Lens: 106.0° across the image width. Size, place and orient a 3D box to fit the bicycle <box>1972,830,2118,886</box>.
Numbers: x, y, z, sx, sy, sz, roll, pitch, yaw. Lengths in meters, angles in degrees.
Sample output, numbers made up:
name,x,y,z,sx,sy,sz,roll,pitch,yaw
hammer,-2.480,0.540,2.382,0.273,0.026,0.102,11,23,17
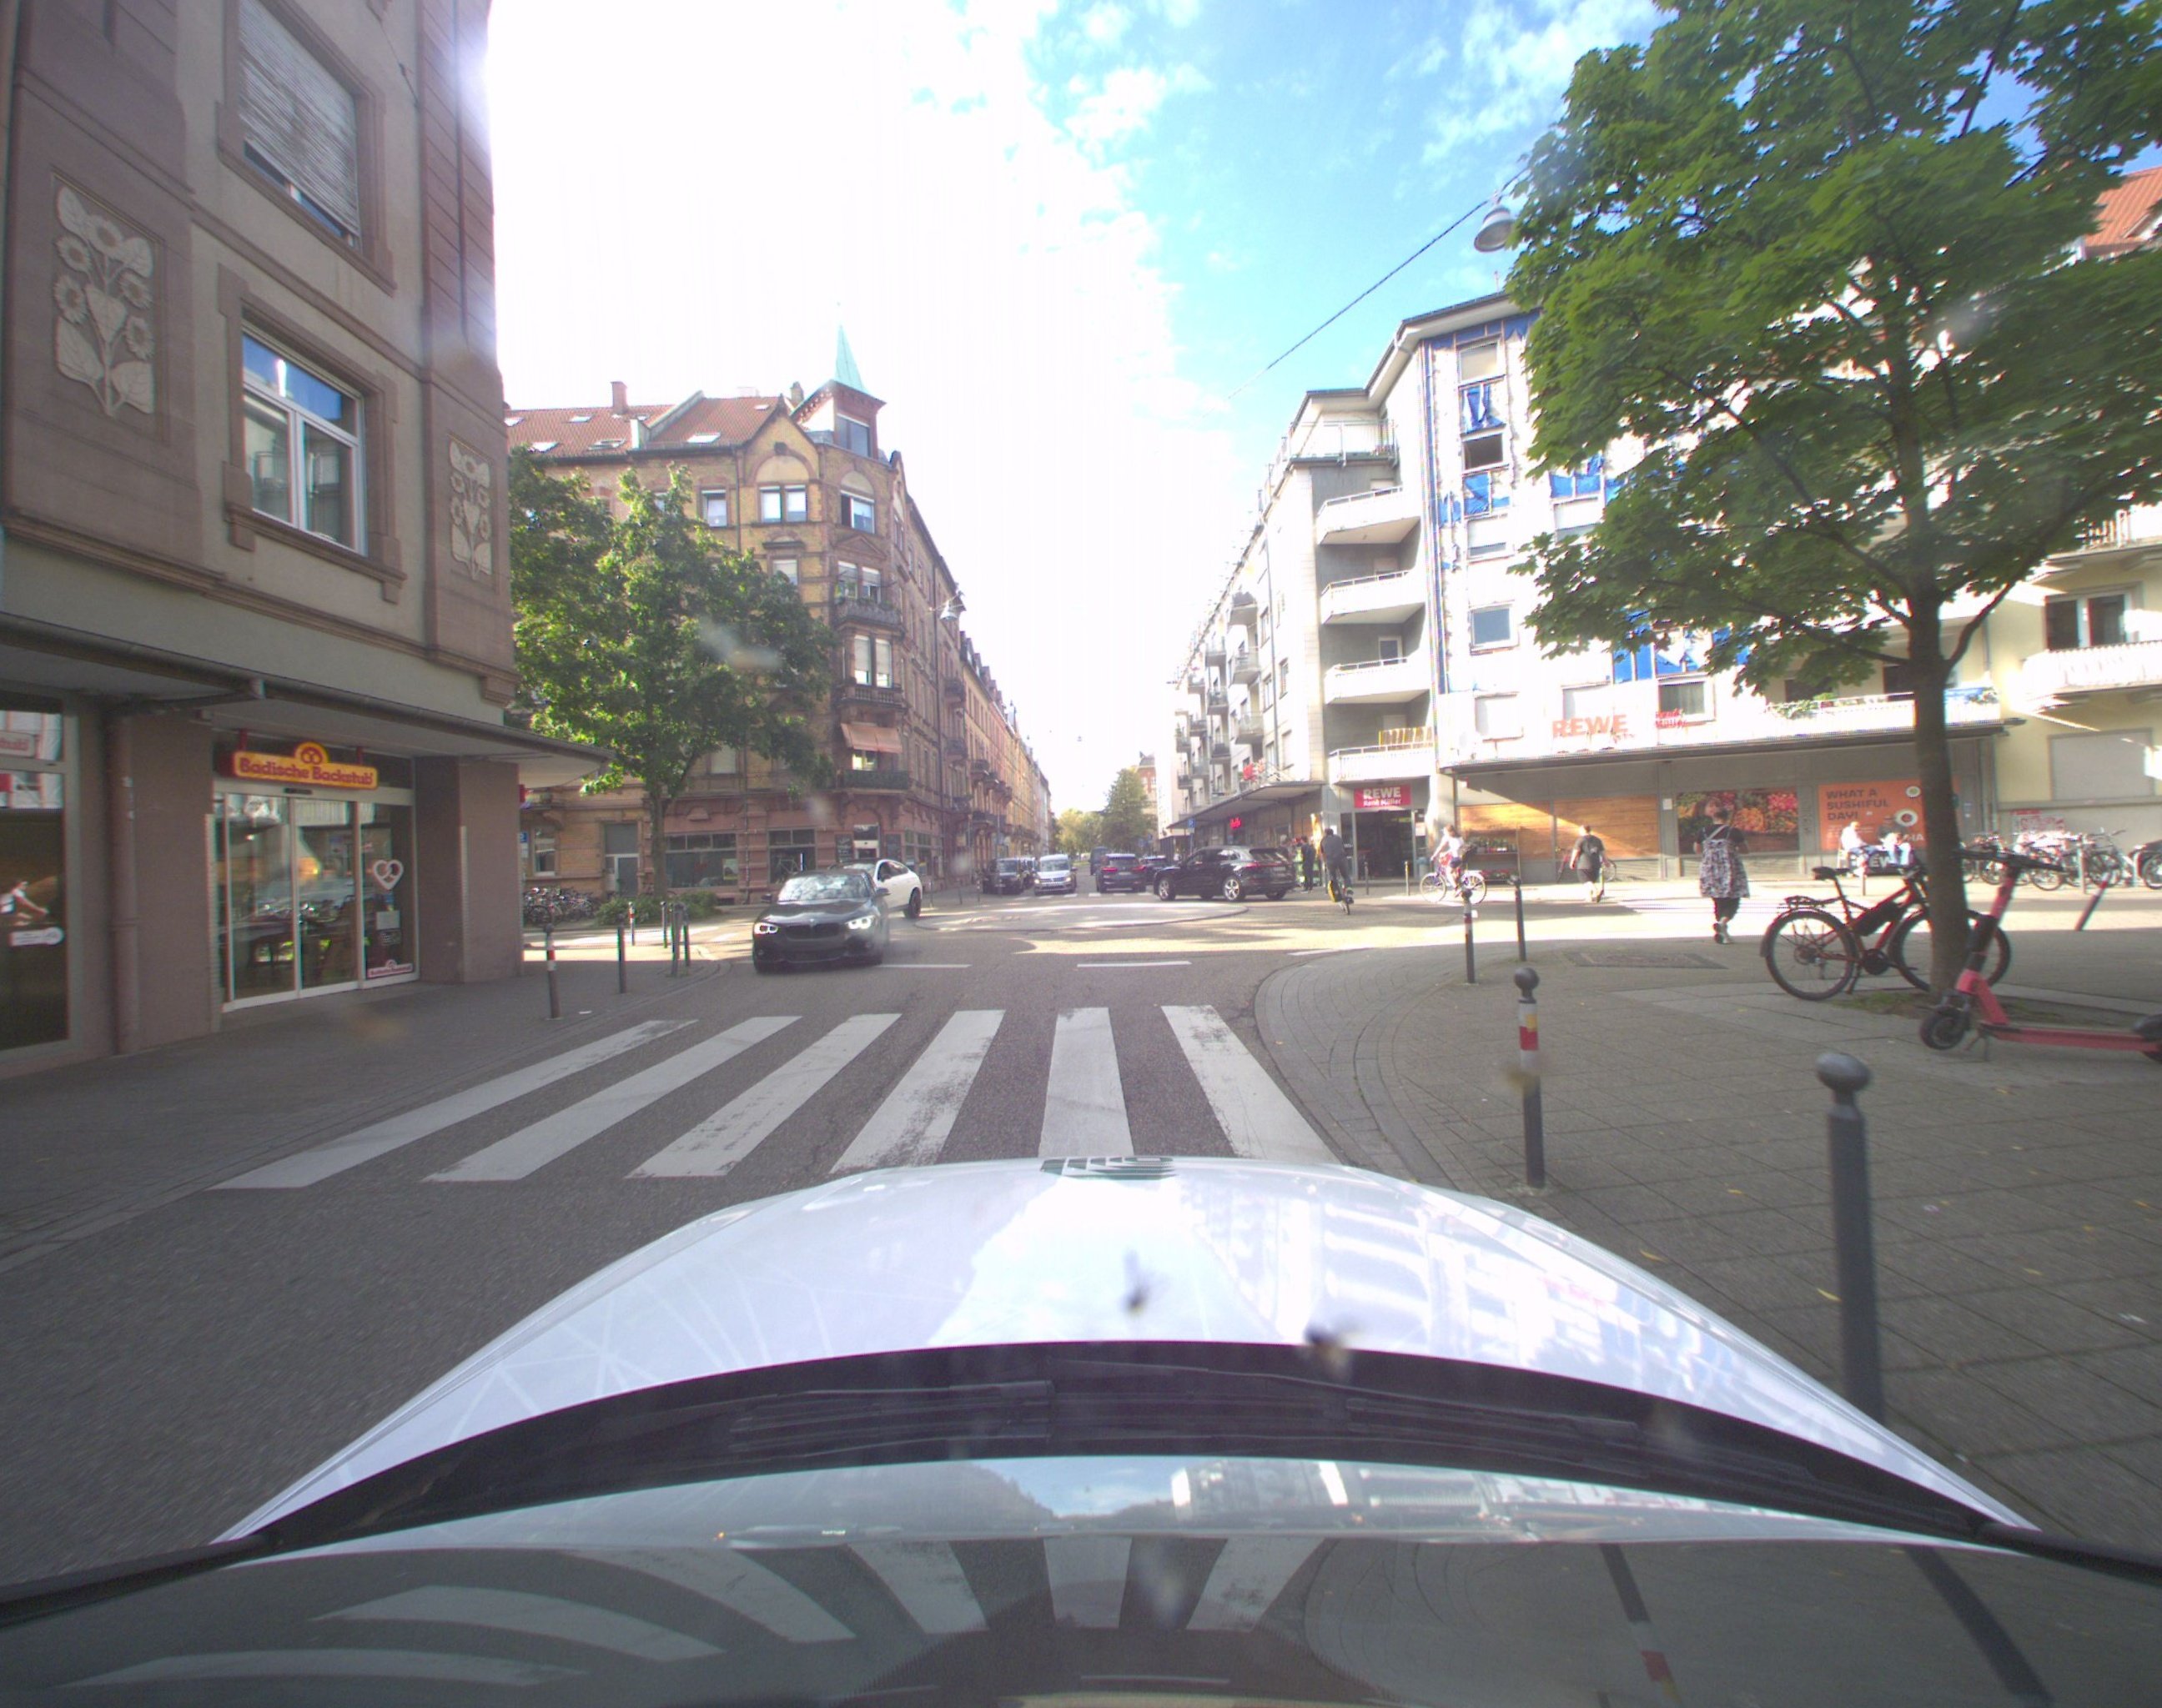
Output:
name,x,y,z,sx,sy,sz,roll,pitch,yaw
bicycle,19.831,0.075,16.778,2.049,1.032,0.753,-3,0,1

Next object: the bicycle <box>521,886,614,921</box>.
name,x,y,z,sx,sy,sz,roll,pitch,yaw
bicycle,-18.760,1.805,29.790,2.890,1.123,0.632,-3,0,-4

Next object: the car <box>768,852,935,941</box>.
name,x,y,z,sx,sy,sz,roll,pitch,yaw
car,-5.554,0.952,20.500,1.930,1.722,4.865,-4,1,11

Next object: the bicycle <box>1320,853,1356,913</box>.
name,x,y,z,sx,sy,sz,roll,pitch,yaw
bicycle,5.498,0.579,17.363,0.660,1.178,2.509,-1,-1,18

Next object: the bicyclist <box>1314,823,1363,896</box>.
name,x,y,z,sx,sy,sz,roll,pitch,yaw
bicyclist,5.452,0.122,17.228,0.926,1.484,0.751,-1,-1,18

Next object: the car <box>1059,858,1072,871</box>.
name,x,y,z,sx,sy,sz,roll,pitch,yaw
car,-2.677,1.803,141.408,1.987,2.013,3.999,-2,0,0

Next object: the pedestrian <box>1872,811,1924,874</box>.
name,x,y,z,sx,sy,sz,roll,pitch,yaw
pedestrian,20.740,-0.284,20.688,0.740,1.550,0.736,-1,1,27

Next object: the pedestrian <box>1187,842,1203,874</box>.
name,x,y,z,sx,sy,sz,roll,pitch,yaw
pedestrian,6.773,0.229,48.369,0.725,1.864,1.067,-3,-1,15

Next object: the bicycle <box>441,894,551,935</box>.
name,x,y,z,sx,sy,sz,roll,pitch,yaw
bicycle,-18.712,1.928,26.095,2.890,1.123,0.725,-3,0,-4

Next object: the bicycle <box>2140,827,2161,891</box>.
name,x,y,z,sx,sy,sz,roll,pitch,yaw
bicycle,20.122,0.088,14.466,1.544,1.141,0.578,0,0,16

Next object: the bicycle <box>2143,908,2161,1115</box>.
name,x,y,z,sx,sy,sz,roll,pitch,yaw
bicycle,4.174,0.672,1.946,0.391,1.040,1.903,-5,0,-28

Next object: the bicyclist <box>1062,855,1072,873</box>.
name,x,y,z,sx,sy,sz,roll,pitch,yaw
bicyclist,-1.555,1.122,91.343,1.130,1.998,1.027,0,-1,-4

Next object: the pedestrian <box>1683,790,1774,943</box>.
name,x,y,z,sx,sy,sz,roll,pitch,yaw
pedestrian,7.932,0.146,9.994,0.774,1.780,0.798,-3,-1,39

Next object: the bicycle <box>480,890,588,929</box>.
name,x,y,z,sx,sy,sz,roll,pitch,yaw
bicycle,-18.579,1.888,27.702,3.089,1.123,0.632,-3,0,-4

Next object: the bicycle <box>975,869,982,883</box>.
name,x,y,z,sx,sy,sz,roll,pitch,yaw
bicycle,-7.024,1.514,55.818,0.359,0.947,1.713,-1,0,-4

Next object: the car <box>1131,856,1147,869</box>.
name,x,y,z,sx,sy,sz,roll,pitch,yaw
car,6.737,0.947,94.640,1.639,1.324,3.578,-5,0,2

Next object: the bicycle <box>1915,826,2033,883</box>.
name,x,y,z,sx,sy,sz,roll,pitch,yaw
bicycle,19.707,0.005,17.982,2.072,1.141,0.435,-3,0,0

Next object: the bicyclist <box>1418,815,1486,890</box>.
name,x,y,z,sx,sy,sz,roll,pitch,yaw
bicyclist,8.531,-0.031,18.754,0.944,1.668,1.009,-2,-1,-22

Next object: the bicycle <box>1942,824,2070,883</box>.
name,x,y,z,sx,sy,sz,roll,pitch,yaw
bicycle,19.777,-0.018,17.428,2.132,1.141,0.485,-3,0,0

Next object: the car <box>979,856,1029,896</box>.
name,x,y,z,sx,sy,sz,roll,pitch,yaw
car,-3.770,1.054,40.573,1.775,1.724,4.449,-1,1,3

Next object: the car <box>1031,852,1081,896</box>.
name,x,y,z,sx,sy,sz,roll,pitch,yaw
car,-1.096,0.884,37.721,1.785,1.790,4.740,-4,0,3

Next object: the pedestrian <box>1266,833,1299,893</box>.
name,x,y,z,sx,sy,sz,roll,pitch,yaw
pedestrian,6.460,0.280,26.117,0.864,1.851,0.613,-2,-1,5

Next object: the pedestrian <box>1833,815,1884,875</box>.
name,x,y,z,sx,sy,sz,roll,pitch,yaw
pedestrian,19.910,-0.224,20.863,0.743,1.479,0.590,-3,-1,26

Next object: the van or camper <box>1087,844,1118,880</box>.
name,x,y,z,sx,sy,sz,roll,pitch,yaw
van or camper,1.897,0.732,74.278,2.524,3.037,4.456,-2,0,-2

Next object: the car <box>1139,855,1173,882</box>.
name,x,y,z,sx,sy,sz,roll,pitch,yaw
car,4.193,0.795,46.117,1.639,1.324,3.578,-5,0,2

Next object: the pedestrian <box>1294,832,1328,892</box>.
name,x,y,z,sx,sy,sz,roll,pitch,yaw
pedestrian,7.341,0.253,26.023,0.864,1.851,0.613,-2,-1,5

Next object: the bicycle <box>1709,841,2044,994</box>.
name,x,y,z,sx,sy,sz,roll,pitch,yaw
bicycle,6.284,0.493,6.520,1.915,1.094,0.654,-2,0,5

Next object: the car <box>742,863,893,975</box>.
name,x,y,z,sx,sy,sz,roll,pitch,yaw
car,-3.983,0.905,12.936,1.751,1.436,4.195,-1,-1,-11

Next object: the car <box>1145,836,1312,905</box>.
name,x,y,z,sx,sy,sz,roll,pitch,yaw
car,4.234,0.477,24.162,2.051,1.724,4.794,-4,1,-34

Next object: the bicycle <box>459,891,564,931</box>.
name,x,y,z,sx,sy,sz,roll,pitch,yaw
bicycle,-18.695,1.873,26.778,2.890,1.123,0.632,-3,0,-4

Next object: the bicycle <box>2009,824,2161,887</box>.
name,x,y,z,sx,sy,sz,roll,pitch,yaw
bicycle,19.730,0.023,15.893,2.309,1.141,0.753,-2,0,1

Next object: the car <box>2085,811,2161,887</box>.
name,x,y,z,sx,sy,sz,roll,pitch,yaw
car,22.457,-0.152,15.356,1.992,1.510,3.990,-2,0,-7

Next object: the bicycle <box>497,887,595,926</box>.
name,x,y,z,sx,sy,sz,roll,pitch,yaw
bicycle,-18.633,1.815,28.392,2.890,1.190,0.632,-3,0,-4

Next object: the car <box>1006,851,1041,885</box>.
name,x,y,z,sx,sy,sz,roll,pitch,yaw
car,-3.710,0.907,52.905,1.988,2.013,3.997,-3,0,-2

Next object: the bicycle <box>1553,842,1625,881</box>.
name,x,y,z,sx,sy,sz,roll,pitch,yaw
bicycle,14.593,0.222,23.402,1.663,1.050,0.461,-3,-1,40

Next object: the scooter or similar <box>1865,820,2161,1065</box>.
name,x,y,z,sx,sy,sz,roll,pitch,yaw
scooter or similar,5.489,0.472,4.672,1.233,1.274,0.668,-3,-1,25

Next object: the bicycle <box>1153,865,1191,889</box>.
name,x,y,z,sx,sy,sz,roll,pitch,yaw
bicycle,4.327,1.084,38.778,1.799,1.027,0.673,-2,0,-37

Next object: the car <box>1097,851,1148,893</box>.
name,x,y,z,sx,sy,sz,roll,pitch,yaw
car,1.737,0.742,35.440,1.987,1.618,4.000,-2,0,0

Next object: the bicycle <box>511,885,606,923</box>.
name,x,y,z,sx,sy,sz,roll,pitch,yaw
bicycle,-18.665,1.779,29.128,2.890,1.197,0.632,-3,0,-4

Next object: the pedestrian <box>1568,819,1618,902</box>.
name,x,y,z,sx,sy,sz,roll,pitch,yaw
pedestrian,11.124,0.135,17.708,0.624,1.739,0.778,-3,-1,13

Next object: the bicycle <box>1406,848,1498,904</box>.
name,x,y,z,sx,sy,sz,roll,pitch,yaw
bicycle,8.540,0.507,18.830,0.712,1.199,1.961,-2,0,-21

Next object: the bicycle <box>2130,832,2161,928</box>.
name,x,y,z,sx,sy,sz,roll,pitch,yaw
bicycle,12.945,0.298,9.317,0.424,1.156,2.010,-3,-3,32
